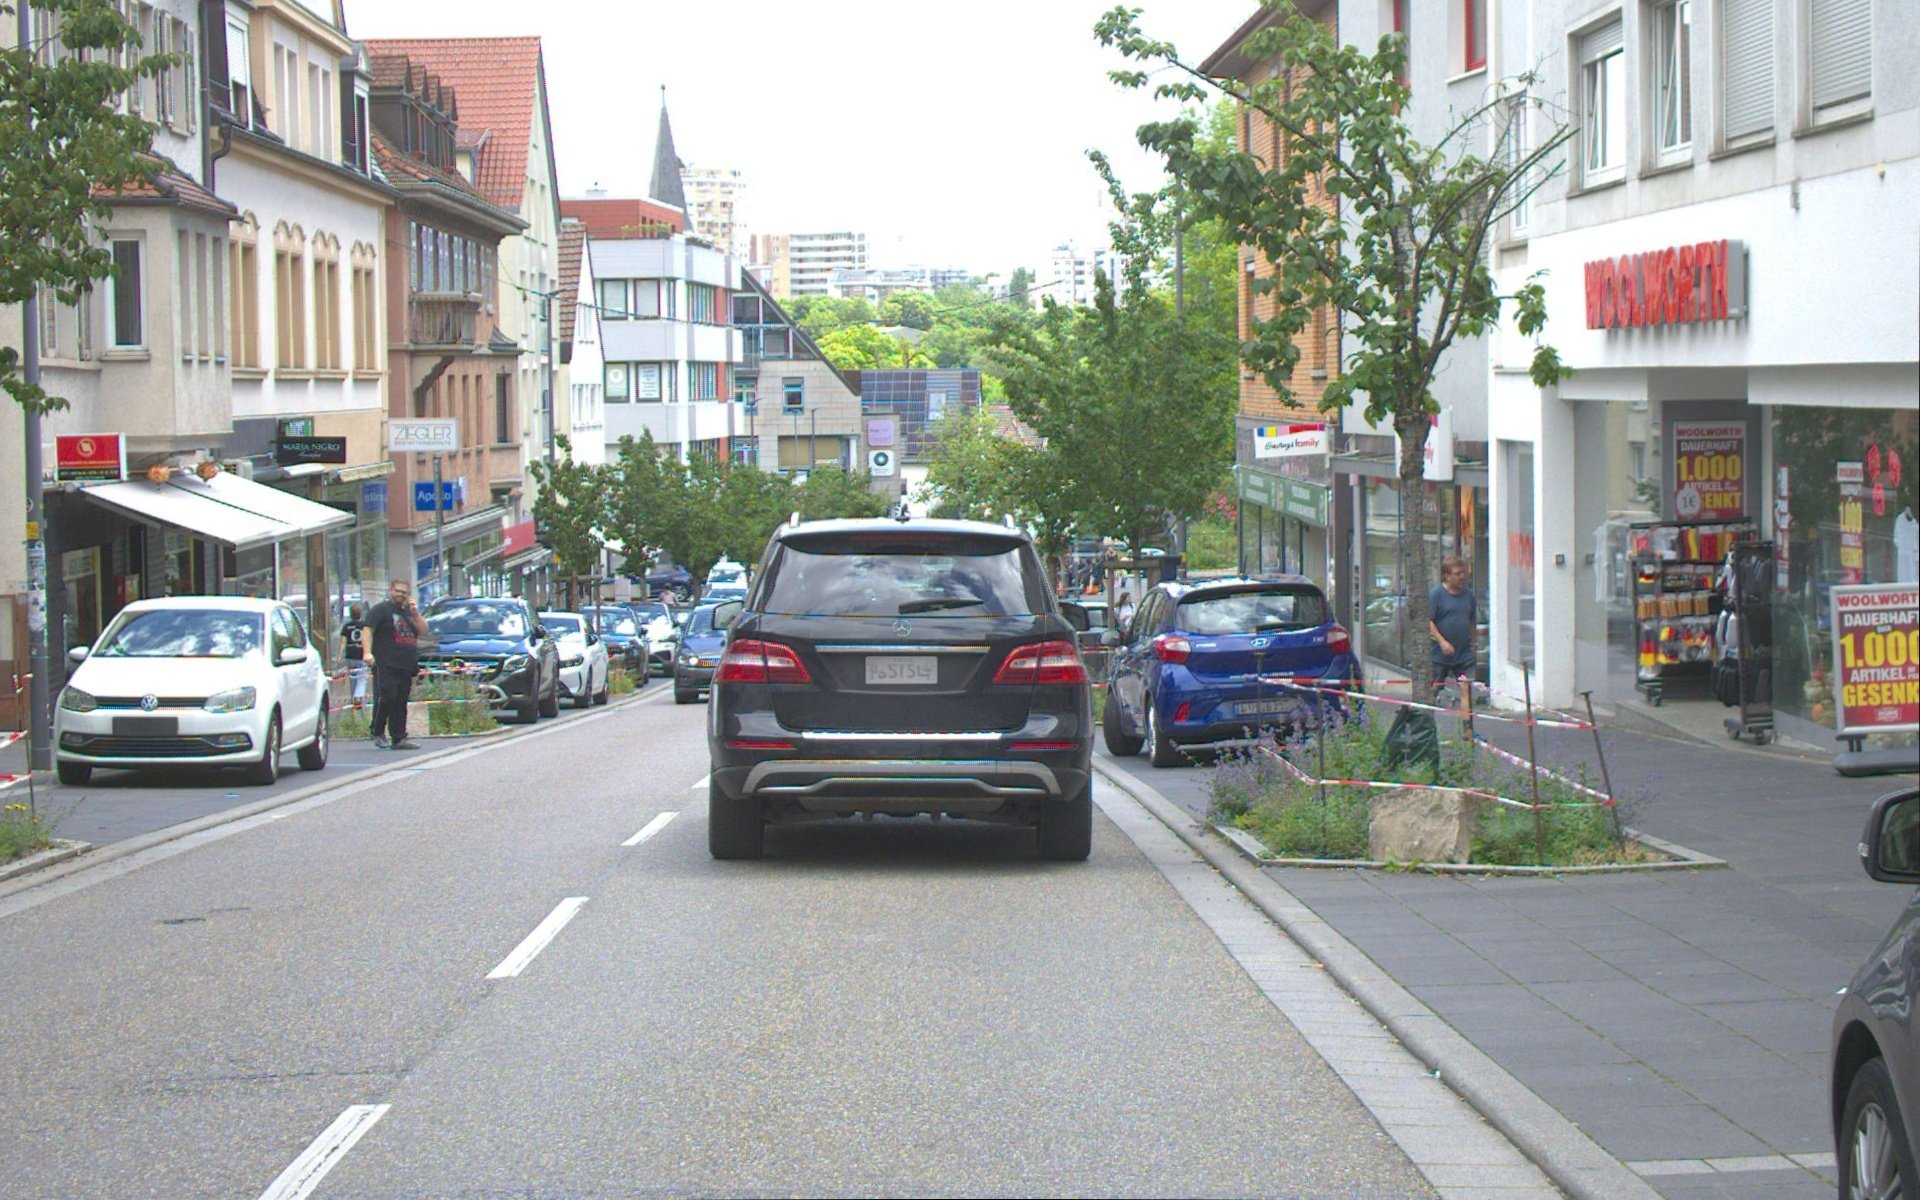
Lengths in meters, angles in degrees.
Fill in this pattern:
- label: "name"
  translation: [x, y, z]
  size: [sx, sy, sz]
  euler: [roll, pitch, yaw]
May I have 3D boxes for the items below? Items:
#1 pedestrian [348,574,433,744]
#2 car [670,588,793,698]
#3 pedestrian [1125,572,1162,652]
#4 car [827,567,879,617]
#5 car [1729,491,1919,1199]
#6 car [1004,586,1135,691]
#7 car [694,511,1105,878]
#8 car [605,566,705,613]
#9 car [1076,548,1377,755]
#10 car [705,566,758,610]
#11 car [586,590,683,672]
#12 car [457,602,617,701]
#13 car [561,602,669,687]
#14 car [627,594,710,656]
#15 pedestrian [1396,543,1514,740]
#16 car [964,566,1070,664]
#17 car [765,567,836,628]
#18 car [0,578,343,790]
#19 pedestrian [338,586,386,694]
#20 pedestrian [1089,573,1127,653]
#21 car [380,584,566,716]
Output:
- label: "pedestrian"
  translation: [-5.651, 0.576, 34.152]
  size: [0.737, 1.666, 0.863]
  euler: [0, 0, -3]
- label: "car"
  translation: [-3.630, 0.674, 55.005]
  size: [1.819, 1.612, 4.136]
  euler: [-3, 0, -3]
- label: "pedestrian"
  translation: [3.782, 0.251, 70.830]
  size: [0.671, 1.627, 0.670]
  euler: [-1, 1, -3]
- label: "car"
  translation: [-3.859, -0.316, 123.721]
  size: [1.764, 1.611, 4.033]
  euler: [-3, 2, -2]
- label: "car"
  translation: [2.313, 0.615, 4.521]
  size: [1.748, 1.602, 3.800]
  euler: [-2, 1, 1]
- label: "car"
  translation: [1.711, 0.589, 55.048]
  size: [1.748, 1.460, 4.075]
  euler: [-4, 1, -2]
- label: "car"
  translation: [-0.310, 0.407, 18.427]
  size: [1.943, 1.734, 4.179]
  euler: [0, 1, -1]
- label: "car"
  translation: [-12.540, -0.421, 141.525]
  size: [3.986, 1.744, 2.000]
  euler: [-3, 0, -4]
- label: "car"
  translation: [2.116, 0.419, 28.289]
  size: [1.748, 1.492, 3.800]
  euler: [-3, -1, -6]
- label: "car"
  translation: [-8.902, -0.496, 134.212]
  size: [1.926, 1.623, 4.415]
  euler: [2, 1, -3]
- label: "car"
  translation: [-6.952, 0.639, 73.831]
  size: [1.926, 1.590, 4.459]
  euler: [2, 1, -4]
- label: "car"
  translation: [-6.457, 0.769, 52.884]
  size: [1.926, 1.425, 4.262]
  euler: [0, 0, 0]
- label: "car"
  translation: [-6.643, 0.837, 66.555]
  size: [1.926, 1.491, 4.263]
  euler: [-1, 1, -4]
- label: "car"
  translation: [-7.633, 0.643, 90.256]
  size: [1.926, 1.491, 4.262]
  euler: [2, 1, -2]
- label: "pedestrian"
  translation: [4.046, 0.332, 28.160]
  size: [0.756, 1.555, 0.818]
  euler: [-2, 0, -3]
- label: "car"
  translation: [1.170, 0.281, 72.675]
  size: [1.938, 1.885, 4.707]
  euler: [-3, 1, -1]
- label: "car"
  translation: [-4.648, -0.105, 100.848]
  size: [1.992, 1.712, 4.447]
  euler: [-1, 1, -2]
- label: "car"
  translation: [-6.298, 0.618, 27.907]
  size: [1.926, 1.506, 4.262]
  euler: [1, 1, -2]
- label: "pedestrian"
  translation: [-8.914, 0.586, 51.235]
  size: [0.547, 1.570, 0.863]
  euler: [-2, 1, -2]
- label: "pedestrian"
  translation: [3.042, 0.269, 70.756]
  size: [0.671, 1.627, 0.670]
  euler: [-1, 1, -3]
- label: "car"
  translation: [-6.330, 0.623, 45.131]
  size: [1.926, 1.616, 4.640]
  euler: [1, 0, -2]
